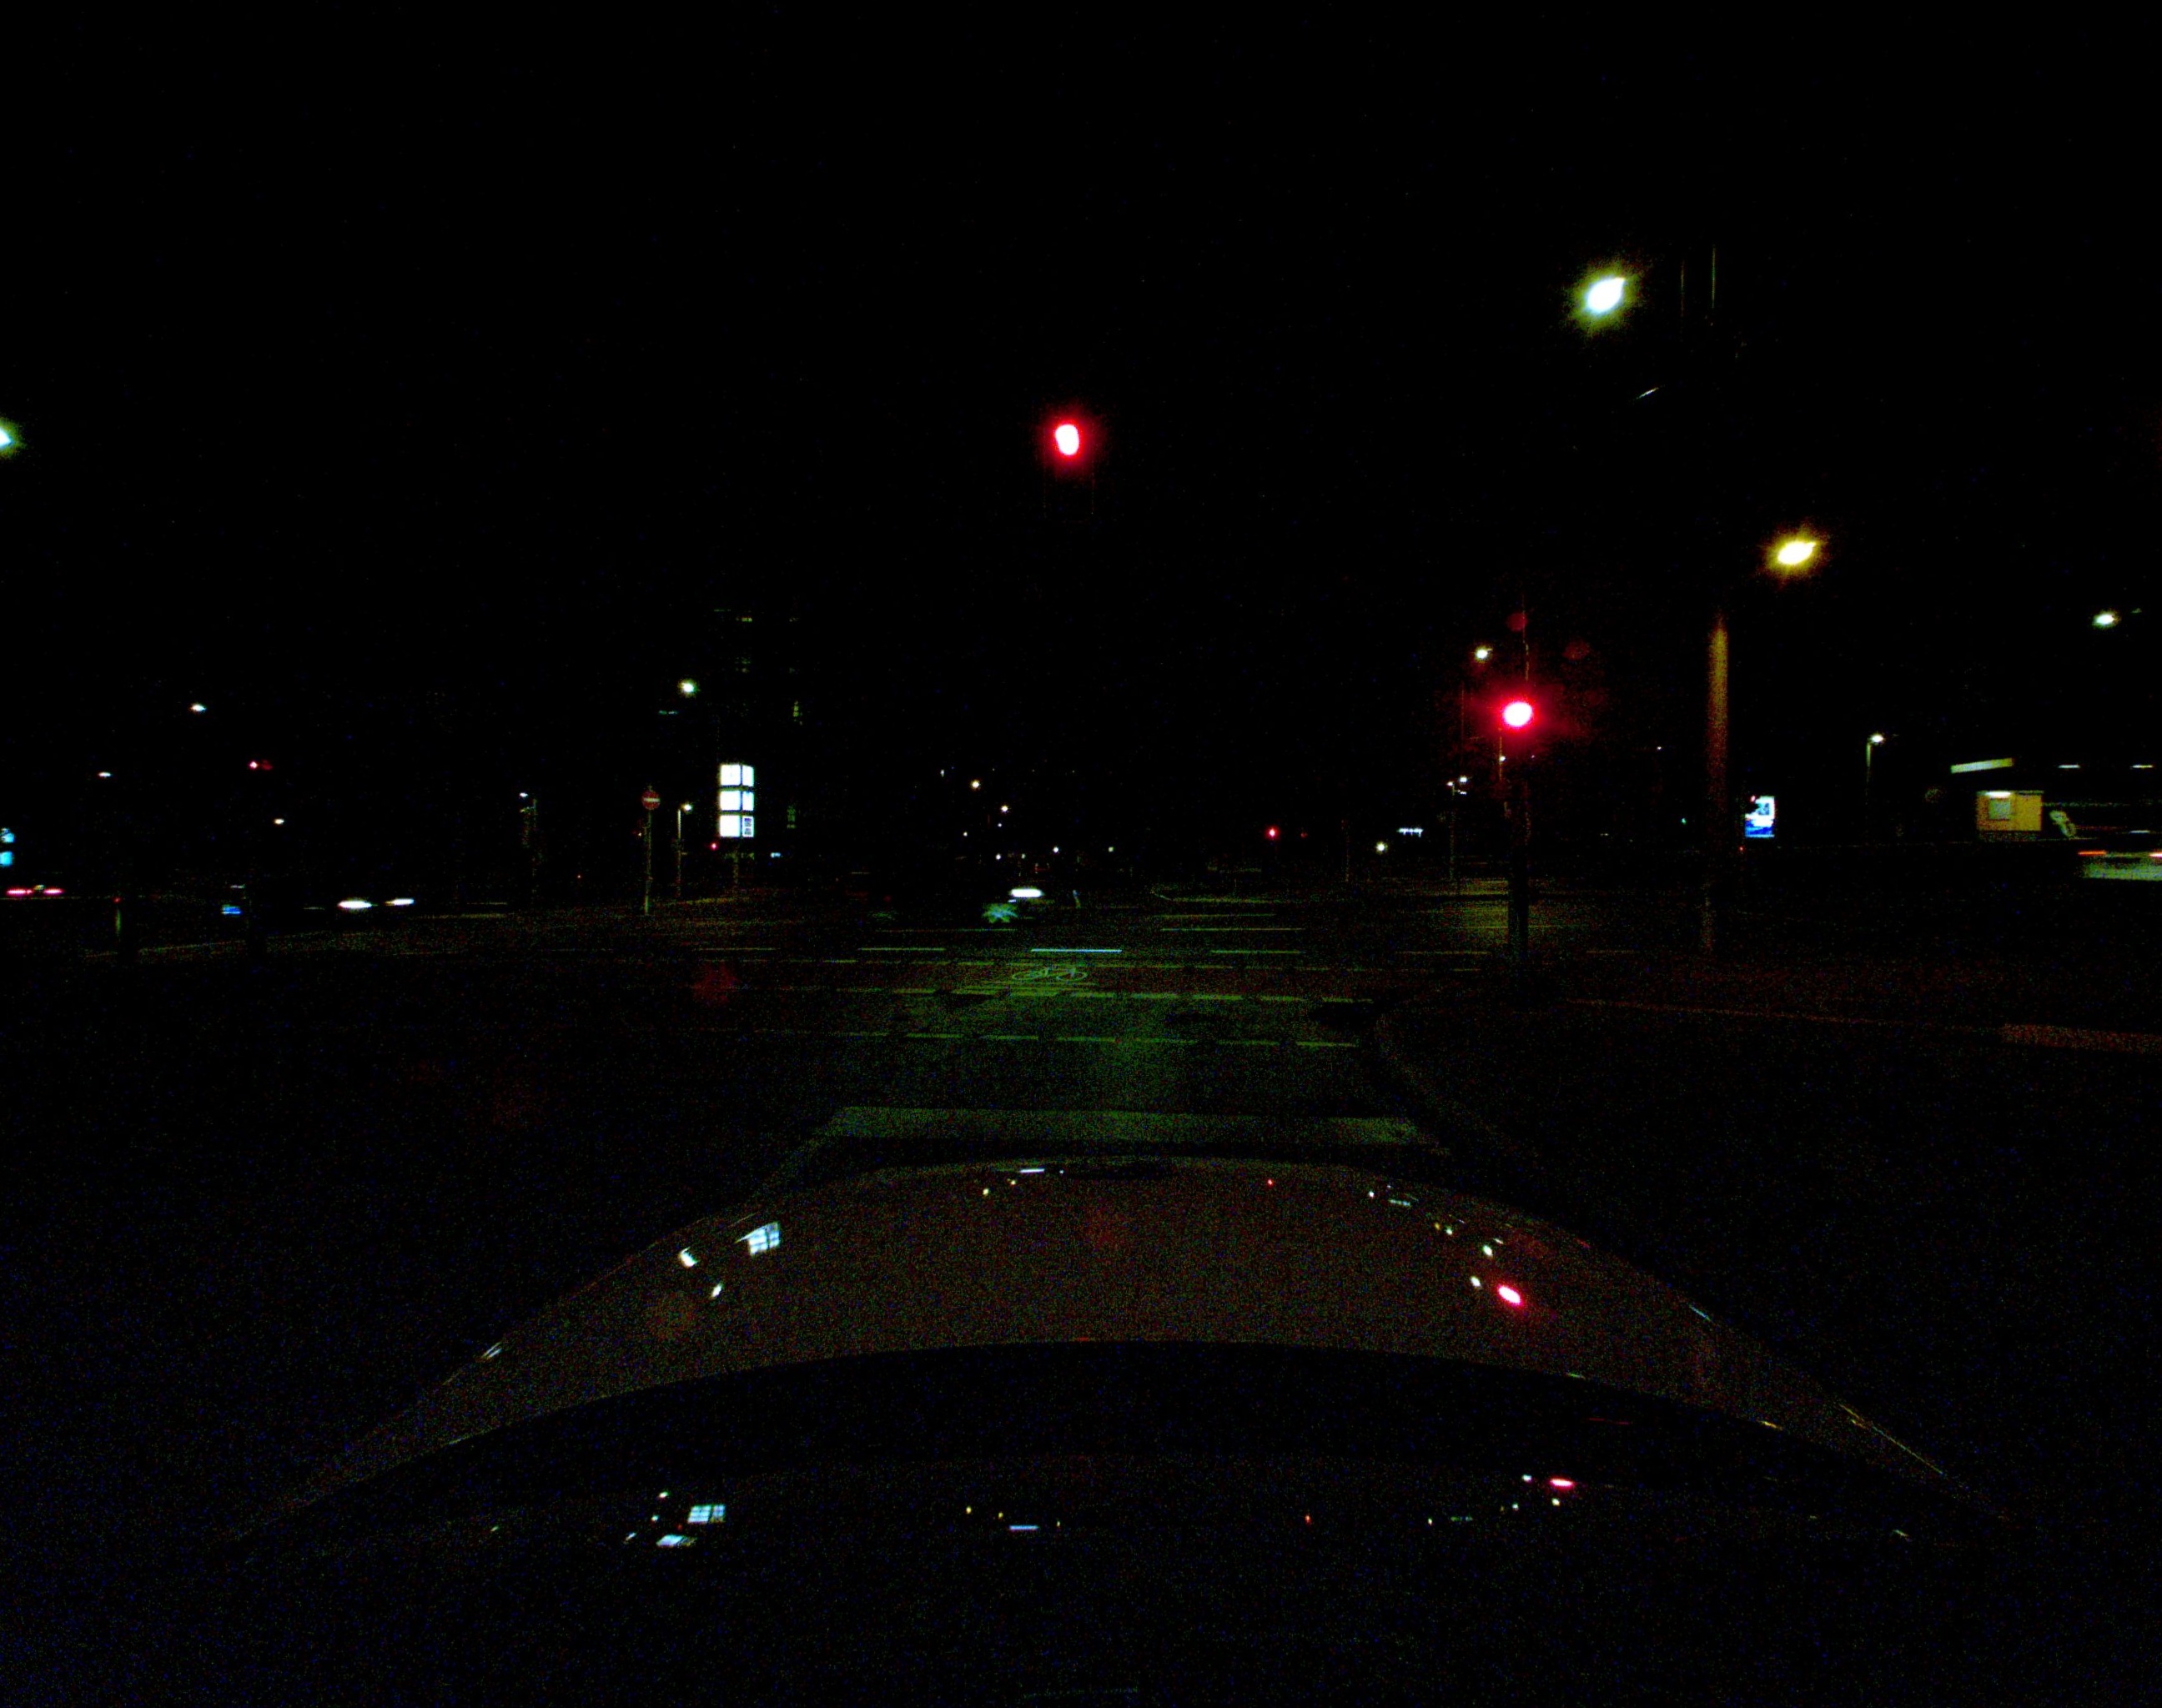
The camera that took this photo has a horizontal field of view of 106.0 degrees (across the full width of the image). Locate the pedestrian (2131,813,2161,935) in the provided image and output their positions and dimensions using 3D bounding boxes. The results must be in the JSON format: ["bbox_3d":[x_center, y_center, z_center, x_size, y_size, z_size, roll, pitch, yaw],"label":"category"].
[{"bbox_3d":[15.822,0.268,11.510,0.752,1.745,0.834,-3,-2,1],"label":"pedestrian"}]

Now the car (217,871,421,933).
[{"bbox_3d":[-22.447,1.392,24.083,4.424,1.659,1.867,-1,-1,5],"label":"car"}]

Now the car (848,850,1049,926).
[{"bbox_3d":[-3.033,0.780,19.181,4.323,1.651,1.812,-1,0,4],"label":"car"}]

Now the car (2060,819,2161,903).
[{"bbox_3d":[24.222,0.089,17.389,4.265,1.682,1.877,-2,1,2],"label":"car"}]

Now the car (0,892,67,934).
[{"bbox_3d":[-56.064,3.122,42.672,3.962,2.014,2.006,-3,-2,10],"label":"car"}]

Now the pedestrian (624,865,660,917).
[{"bbox_3d":[-13.960,1.165,25.913,0.667,1.634,0.862,0,-1,-3],"label":"pedestrian"}]

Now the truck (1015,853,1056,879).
[{"bbox_3d":[-8.555,2.228,151.649,4.835,4.547,12.591,0,-1,-17],"label":"truck"}]

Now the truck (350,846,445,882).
[{"bbox_3d":[-59.817,0.878,71.362,5.873,3.088,2.915,0,-1,3],"label":"truck"}]

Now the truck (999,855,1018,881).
[{"bbox_3d":[-10.634,1.961,119.480,2.580,3.707,5.723,0,-1,-7],"label":"truck"}]
